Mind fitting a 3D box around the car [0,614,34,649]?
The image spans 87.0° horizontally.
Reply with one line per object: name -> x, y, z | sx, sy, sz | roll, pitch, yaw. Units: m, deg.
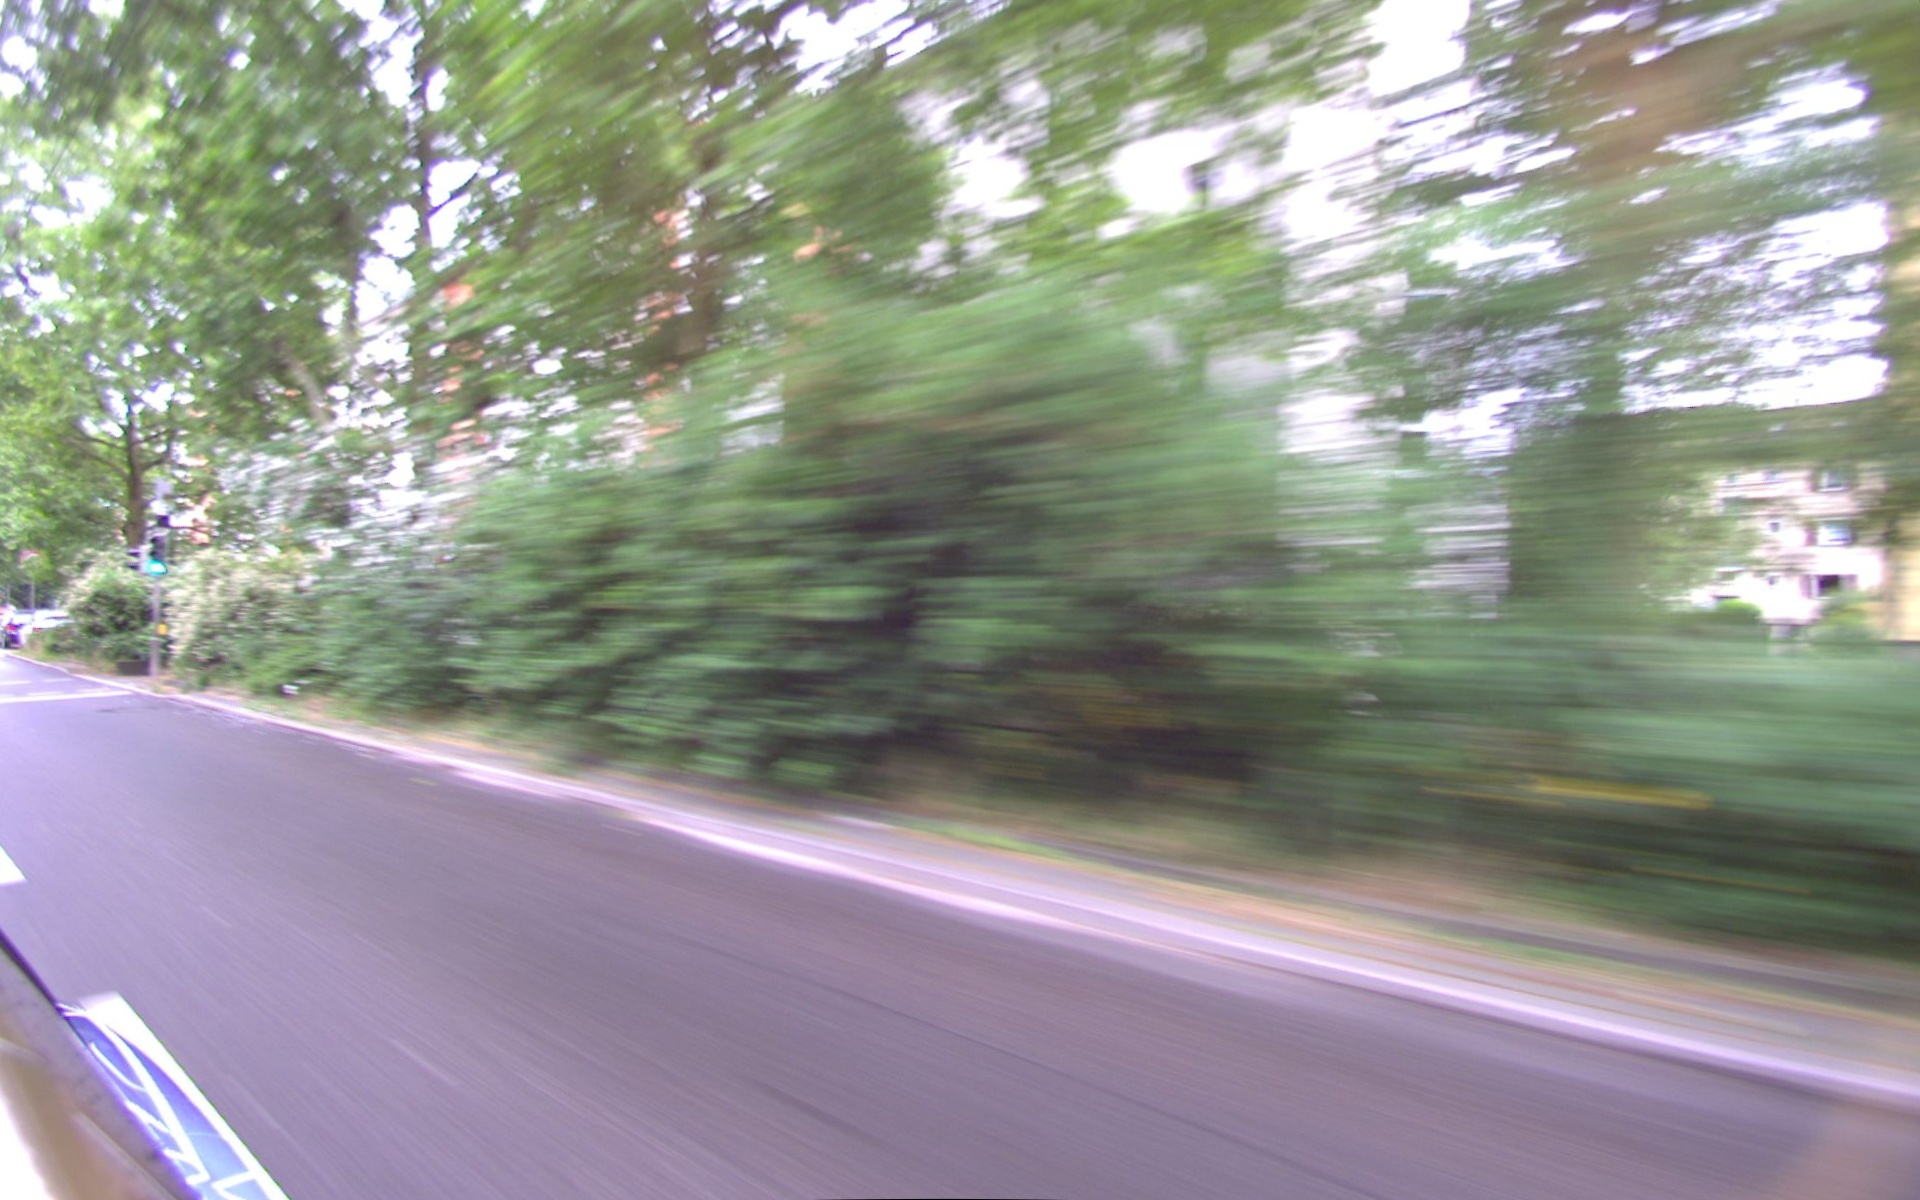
car -> -41.448, 1.337, 43.668 | 3.752, 1.478, 1.699 | 0, -1, 40

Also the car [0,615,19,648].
car -> -45.608, 1.483, 47.630 | 3.394, 1.478, 1.540 | 0, -1, 40

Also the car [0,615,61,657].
car -> -36.388, 1.357, 39.216 | 4.230, 1.478, 1.699 | 0, -1, 40

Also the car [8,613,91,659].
car -> -31.643, 1.216, 35.119 | 4.308, 1.478, 1.698 | 0, -1, 42

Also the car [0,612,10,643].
car -> -49.206, 1.350, 50.733 | 4.799, 1.521, 1.700 | 0, -1, 39
